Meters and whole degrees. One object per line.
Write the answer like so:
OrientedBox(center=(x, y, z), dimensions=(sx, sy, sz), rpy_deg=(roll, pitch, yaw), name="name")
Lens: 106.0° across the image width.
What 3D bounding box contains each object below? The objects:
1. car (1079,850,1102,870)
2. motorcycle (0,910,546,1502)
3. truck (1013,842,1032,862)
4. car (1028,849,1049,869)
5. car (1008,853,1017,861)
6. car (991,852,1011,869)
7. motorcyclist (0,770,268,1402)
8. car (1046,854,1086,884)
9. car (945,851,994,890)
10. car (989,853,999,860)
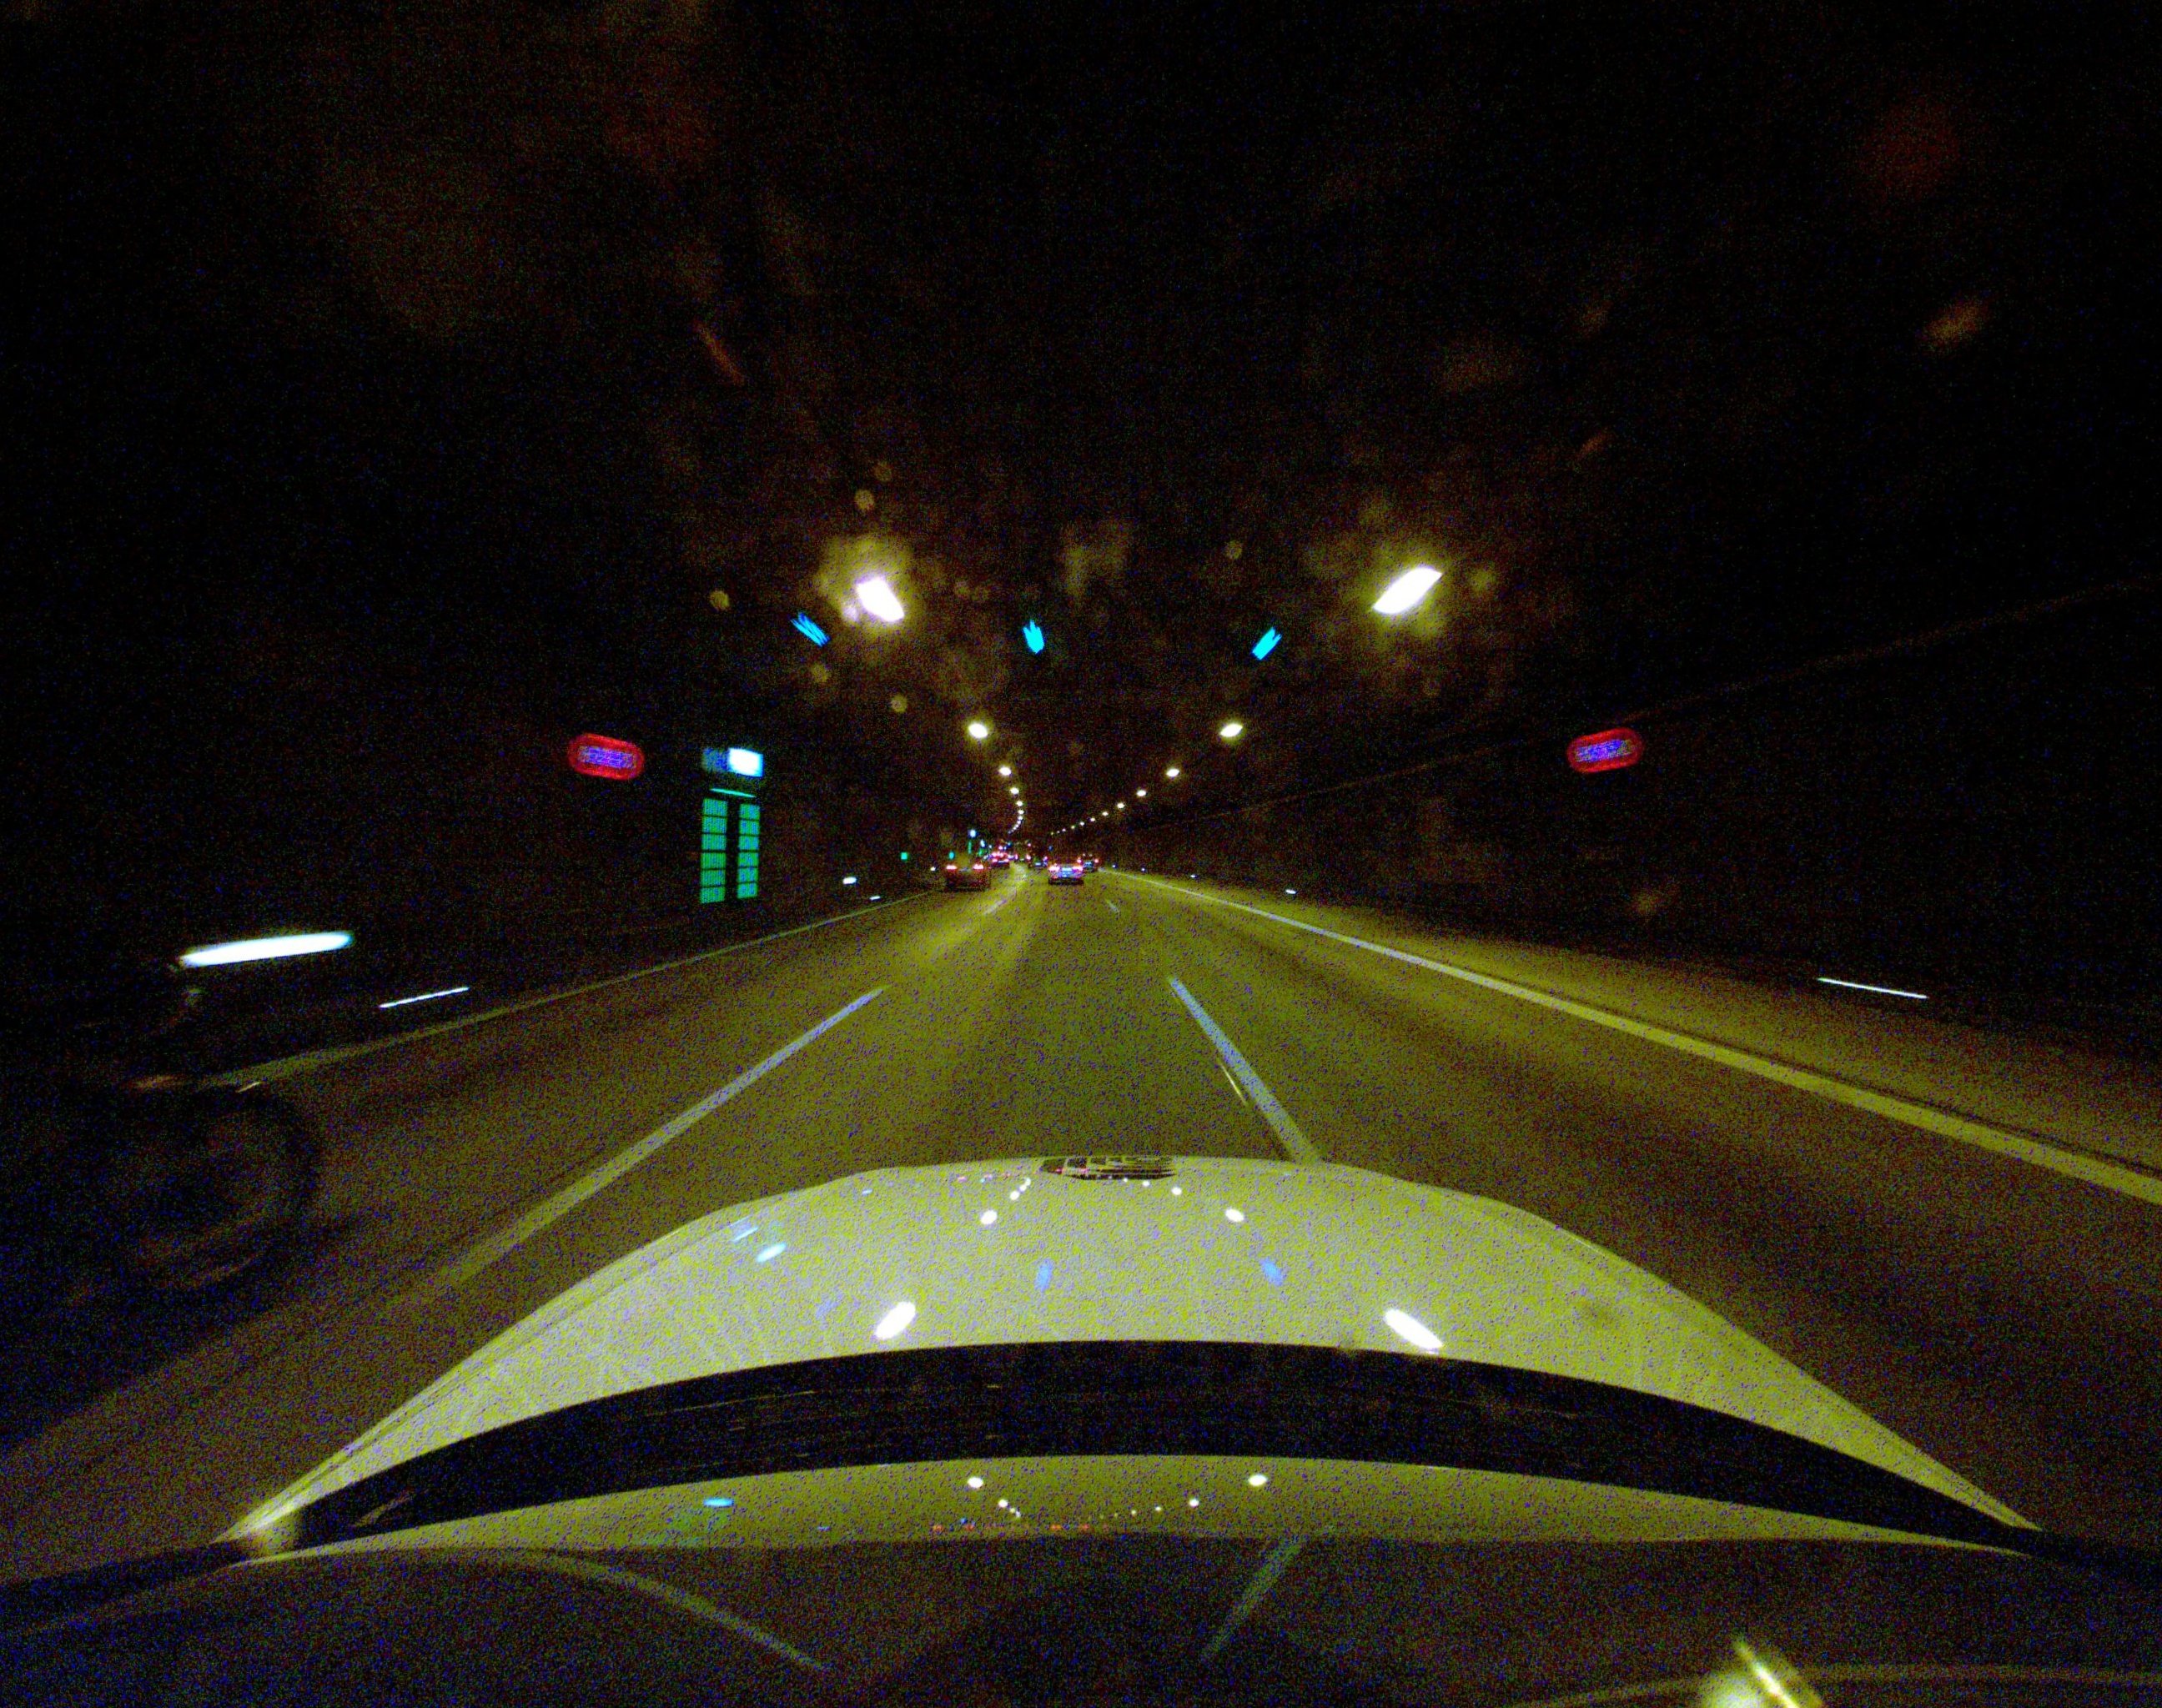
OrientedBox(center=(0.782, 0.504, 68.225), dimensions=(1.834, 1.602, 3.999), rpy_deg=(-1, 0, 0), name="car")
OrientedBox(center=(-2.883, 0.869, 2.373), dimensions=(0.842, 1.246, 2.606), rpy_deg=(-1, -1, 2), name="motorcycle")
OrientedBox(center=(-9.848, -0.353, 136.221), dimensions=(3.078, 3.113, 10.011), rpy_deg=(0, 1, -5), name="truck")
OrientedBox(center=(-4.257, 0.494, 81.754), dimensions=(1.989, 1.972, 3.997), rpy_deg=(-1, 0, -2), name="car")
OrientedBox(center=(-15.967, 0.713, 188.781), dimensions=(1.990, 1.754, 3.994), rpy_deg=(0, -1, -4), name="car")
OrientedBox(center=(-8.306, 0.643, 84.426), dimensions=(1.796, 1.684, 3.997), rpy_deg=(0, 0, -2), name="car")
OrientedBox(center=(-2.939, 0.546, 2.102), dimensions=(0.835, 1.477, 0.822), rpy_deg=(-1, 0, 3), name="motorcyclist")
OrientedBox(center=(-0.781, 0.745, 42.455), dimensions=(1.987, 1.483, 3.999), rpy_deg=(0, 0, -1), name="car")
OrientedBox(center=(-4.910, 0.698, 36.369), dimensions=(1.781, 1.598, 3.798), rpy_deg=(-1, 0, -2), name="car")
OrientedBox(center=(-18.716, 0.603, 175.729), dimensions=(1.991, 1.530, 3.991), rpy_deg=(0, -1, -6), name="car")
